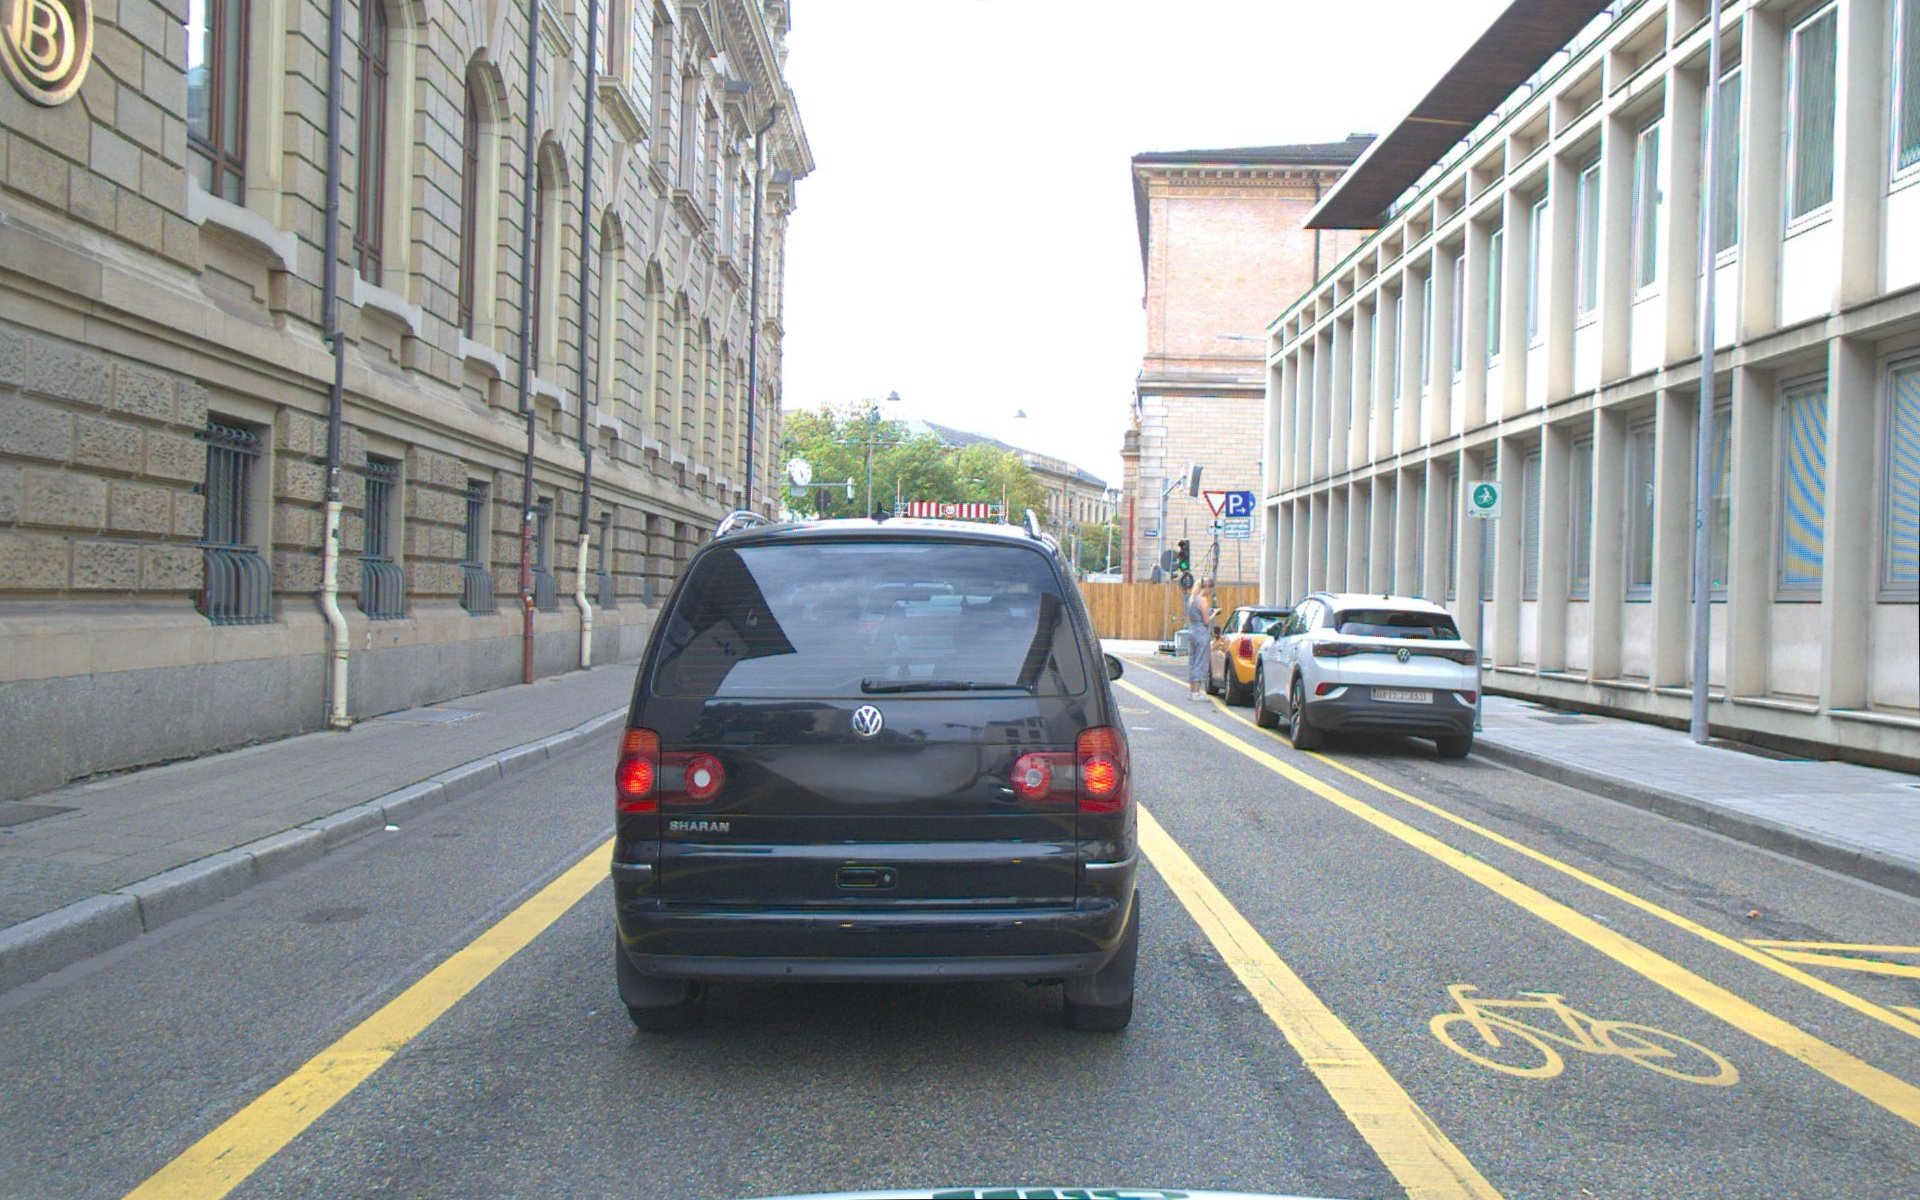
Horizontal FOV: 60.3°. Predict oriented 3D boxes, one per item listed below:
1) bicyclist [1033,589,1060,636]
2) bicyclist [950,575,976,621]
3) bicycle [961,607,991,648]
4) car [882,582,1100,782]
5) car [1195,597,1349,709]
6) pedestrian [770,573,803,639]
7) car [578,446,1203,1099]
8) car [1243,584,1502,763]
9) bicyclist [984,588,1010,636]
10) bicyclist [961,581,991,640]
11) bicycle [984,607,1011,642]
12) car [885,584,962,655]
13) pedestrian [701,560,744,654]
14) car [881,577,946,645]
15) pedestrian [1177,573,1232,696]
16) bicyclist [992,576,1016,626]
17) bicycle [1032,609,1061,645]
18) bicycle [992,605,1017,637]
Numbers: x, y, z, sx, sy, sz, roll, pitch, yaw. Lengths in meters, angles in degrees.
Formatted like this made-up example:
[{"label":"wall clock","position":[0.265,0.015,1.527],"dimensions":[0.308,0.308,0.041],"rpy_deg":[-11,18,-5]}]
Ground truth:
[{"label":"bicyclist","position":[2.577,0.376,49.485],"dimensions":[0.720,1.399,0.831],"rpy_deg":[1,0,-1]},{"label":"bicyclist","position":[0.091,-0.060,54.890],"dimensions":[0.721,1.495,0.807],"rpy_deg":[1,-1,-9]},{"label":"bicycle","position":[0.409,0.687,42.773],"dimensions":[0.720,1.026,2.068],"rpy_deg":[1,0,-1]},{"label":"car","position":[0.309,0.637,14.788],"dimensions":[1.643,1.495,4.104],"rpy_deg":[1,0,2]},{"label":"car","position":[4.662,0.748,25.203],"dimensions":[1.645,1.459,3.887],"rpy_deg":[4,0,2]},{"label":"pedestrian","position":[-4.968,0.173,47.443],"dimensions":[0.776,1.851,1.048],"rpy_deg":[3,-1,-1]},{"label":"car","position":[-0.130,0.496,6.799],"dimensions":[1.752,1.821,4.104],"rpy_deg":[1,0,2]},{"label":"car","position":[4.455,0.732,18.577],"dimensions":[1.822,1.633,4.513],"rpy_deg":[4,0,2]},{"label":"bicyclist","position":[1.103,0.363,48.980],"dimensions":[0.720,1.401,0.828],"rpy_deg":[1,0,-1]},{"label":"bicyclist","position":[0.416,0.270,42.733],"dimensions":[0.720,1.504,0.884],"rpy_deg":[1,0,-1]},{"label":"bicycle","position":[1.093,0.716,48.972],"dimensions":[0.720,1.026,2.068],"rpy_deg":[1,0,-1]},{"label":"car","position":[-0.872,0.451,40.246],"dimensions":[1.737,1.613,3.999],"rpy_deg":[1,0,-1]},{"label":"pedestrian","position":[-4.827,0.140,33.728],"dimensions":[0.650,1.851,1.048],"rpy_deg":[3,-1,-1]},{"label":"car","position":[-1.372,0.297,47.243],"dimensions":[1.700,1.821,4.100],"rpy_deg":[1,0,-4]},{"label":"pedestrian","position":[3.638,0.508,24.644],"dimensions":[0.684,1.794,0.705],"rpy_deg":[1,-1,-2]},{"label":"bicyclist","position":[1.421,0.027,53.783],"dimensions":[0.720,1.582,0.895],"rpy_deg":[1,-1,-1]},{"label":"bicycle","position":[2.567,0.798,49.498],"dimensions":[0.720,1.026,2.068],"rpy_deg":[1,0,-1]},{"label":"bicycle","position":[1.434,0.674,53.837],"dimensions":[0.720,1.026,2.068],"rpy_deg":[1,0,-1]}]
